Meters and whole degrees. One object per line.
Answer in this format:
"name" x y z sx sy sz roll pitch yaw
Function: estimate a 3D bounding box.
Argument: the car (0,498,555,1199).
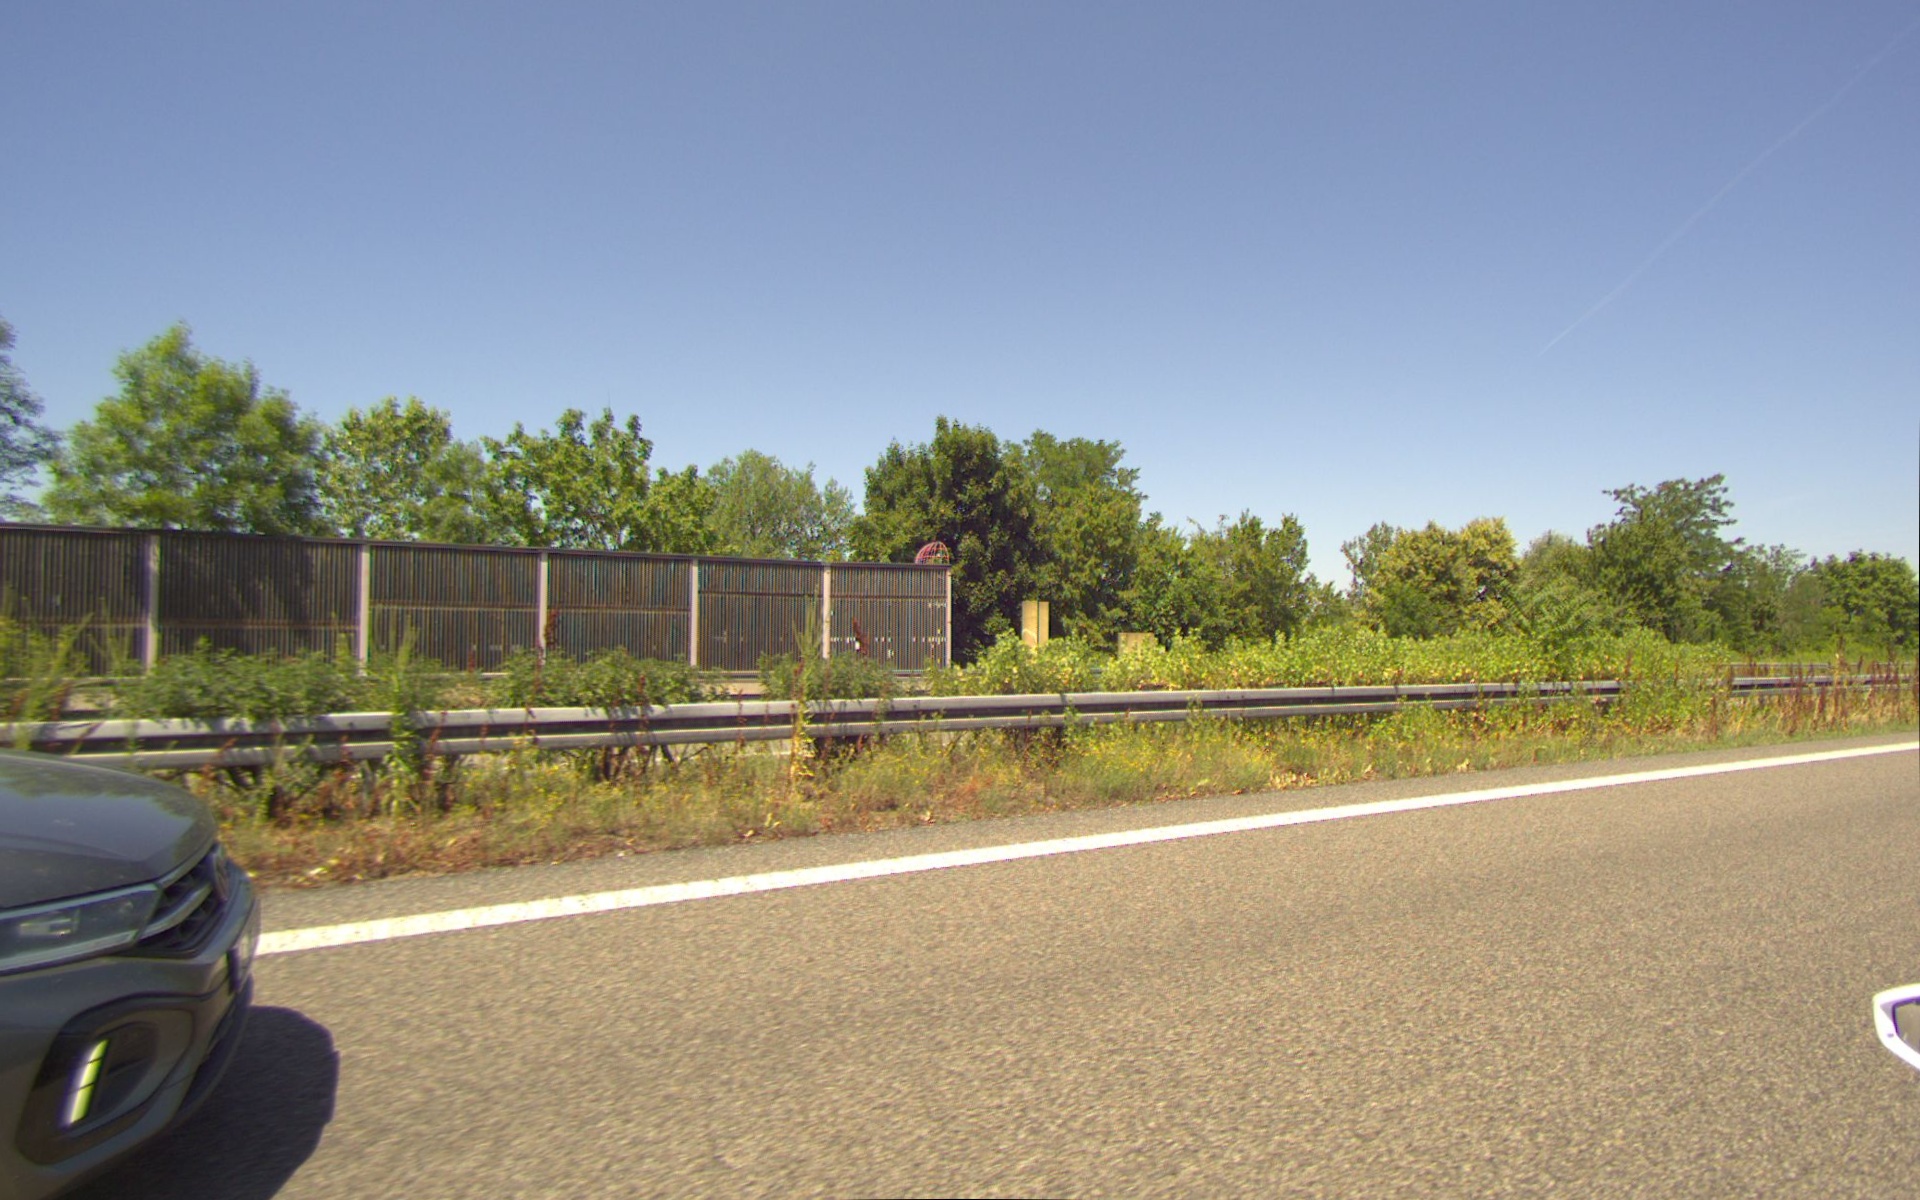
"car" -3.545 0.641 1.887 4.952 1.662 1.870 0 -1 -32
